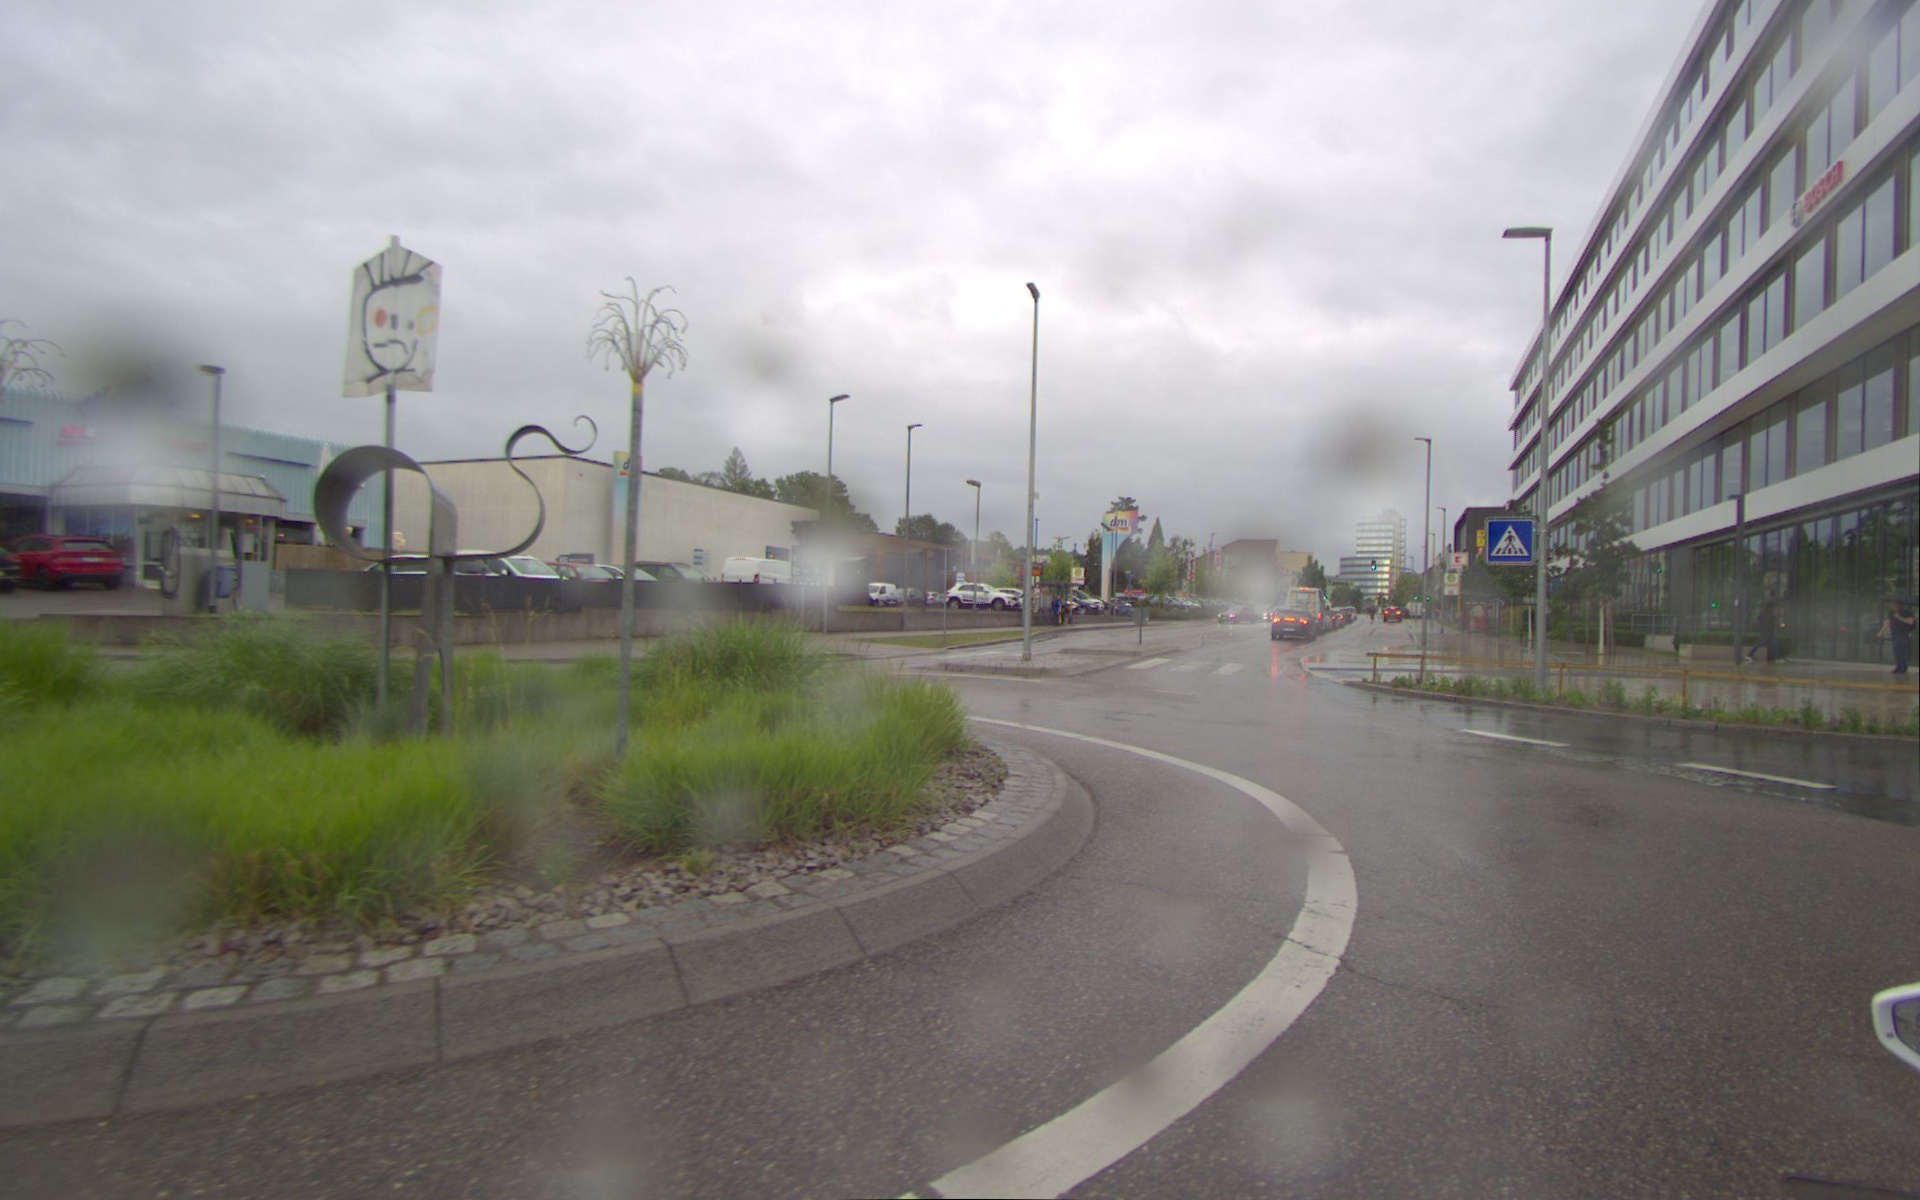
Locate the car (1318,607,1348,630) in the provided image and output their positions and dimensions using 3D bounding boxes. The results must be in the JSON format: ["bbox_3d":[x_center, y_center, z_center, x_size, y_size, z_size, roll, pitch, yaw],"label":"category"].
[{"bbox_3d":[28.901,1.424,77.790,1.961,1.640,3.998,2,1,23],"label":"car"}]

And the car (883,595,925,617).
[{"bbox_3d":[-3.724,0.403,67.187,1.560,1.371,3.521,1,0,19],"label":"car"}]

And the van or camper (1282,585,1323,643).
[{"bbox_3d":[19.483,0.718,56.951,1.961,3.130,5.100,1,2,21],"label":"van or camper"}]

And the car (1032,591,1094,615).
[{"bbox_3d":[7.124,0.186,69.618,3.922,1.573,1.794,1,0,21],"label":"car"}]

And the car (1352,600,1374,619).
[{"bbox_3d":[45.886,1.053,114.380,1.963,2.041,3.995,0,2,26],"label":"car"}]

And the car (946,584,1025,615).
[{"bbox_3d":[1.399,-0.016,54.902,3.922,1.573,1.852,1,0,21],"label":"car"}]

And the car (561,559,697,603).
[{"bbox_3d":[-10.715,-0.662,32.537,3.924,1.313,1.886,2,3,24],"label":"car"}]

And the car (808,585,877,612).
[{"bbox_3d":[-7.303,-0.112,62.473,3.922,1.573,1.794,1,0,22],"label":"car"}]

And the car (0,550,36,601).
[{"bbox_3d":[-26.616,-0.685,26.503,3.924,1.313,1.886,2,3,24],"label":"car"}]

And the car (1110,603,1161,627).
[{"bbox_3d":[15.102,1.256,86.492,3.922,1.751,1.999,4,4,21],"label":"car"}]

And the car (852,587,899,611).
[{"bbox_3d":[-5.790,-0.037,69.398,1.759,1.573,4.000,1,0,19],"label":"car"}]

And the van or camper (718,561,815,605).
[{"bbox_3d":[-8.142,-0.773,42.676,1.852,1.785,4.377,2,3,24],"label":"van or camper"}]

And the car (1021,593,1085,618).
[{"bbox_3d":[6.215,0.343,67.244,3.922,1.573,1.794,1,0,21],"label":"car"}]

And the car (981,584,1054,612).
[{"bbox_3d":[3.432,-0.122,59.708,3.922,1.573,1.794,1,0,21],"label":"car"}]

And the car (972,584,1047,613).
[{"bbox_3d":[2.863,-0.113,57.790,3.922,1.573,1.794,1,0,21],"label":"car"}]

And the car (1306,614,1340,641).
[{"bbox_3d":[25.376,1.882,70.156,1.961,1.640,3.998,2,1,23],"label":"car"}]

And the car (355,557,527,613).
[{"bbox_3d":[-13.291,-0.423,25.747,3.924,1.313,1.886,2,3,24],"label":"car"}]

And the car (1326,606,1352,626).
[{"bbox_3d":[33.018,1.364,87.424,1.961,1.640,3.998,2,1,23],"label":"car"}]

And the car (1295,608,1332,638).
[{"bbox_3d":[22.593,1.438,64.069,1.961,1.729,3.998,2,1,23],"label":"car"}]

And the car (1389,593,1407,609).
[{"bbox_3d":[58.873,0.136,135.035,1.962,1.885,3.995,4,4,25],"label":"car"}]

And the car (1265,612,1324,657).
[{"bbox_3d":[15.623,1.567,46.838,1.963,1.751,3.994,2,3,27],"label":"car"}]

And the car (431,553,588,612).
[{"bbox_3d":[-12.763,-0.506,28.478,3.922,1.573,1.794,1,0,21],"label":"car"}]

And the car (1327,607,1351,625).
[{"bbox_3d":[36.734,1.542,97.363,1.961,1.640,3.998,2,1,23],"label":"car"}]

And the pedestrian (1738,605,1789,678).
[{"bbox_3d":[24.674,1.266,30.860,0.987,2.174,0.930,1,1,26],"label":"pedestrian"}]

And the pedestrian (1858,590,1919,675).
[{"bbox_3d":[22.787,0.782,24.492,0.914,2.040,0.893,1,0,-4],"label":"pedestrian"}]

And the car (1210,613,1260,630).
[{"bbox_3d":[23.820,1.861,87.092,3.952,1.417,1.984,1,0,-30],"label":"car"}]

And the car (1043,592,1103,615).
[{"bbox_3d":[8.073,0.232,71.977,3.922,1.573,1.794,1,0,21],"label":"car"}]

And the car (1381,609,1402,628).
[{"bbox_3d":[48.836,2.079,113.687,1.962,1.885,3.995,4,4,25],"label":"car"}]

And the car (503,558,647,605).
[{"bbox_3d":[-11.665,-0.600,30.459,3.924,1.313,1.886,2,3,24],"label":"car"}]

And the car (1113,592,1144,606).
[{"bbox_3d":[23.341,-0.194,139.217,3.923,1.673,1.999,4,4,23],"label":"car"}]

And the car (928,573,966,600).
[{"bbox_3d":[-1.058,-1.179,85.423,1.960,2.041,3.999,4,4,19],"label":"car"}]

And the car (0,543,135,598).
[{"bbox_3d":[-26.089,-0.888,29.041,3.924,1.506,1.886,2,3,24],"label":"car"}]
